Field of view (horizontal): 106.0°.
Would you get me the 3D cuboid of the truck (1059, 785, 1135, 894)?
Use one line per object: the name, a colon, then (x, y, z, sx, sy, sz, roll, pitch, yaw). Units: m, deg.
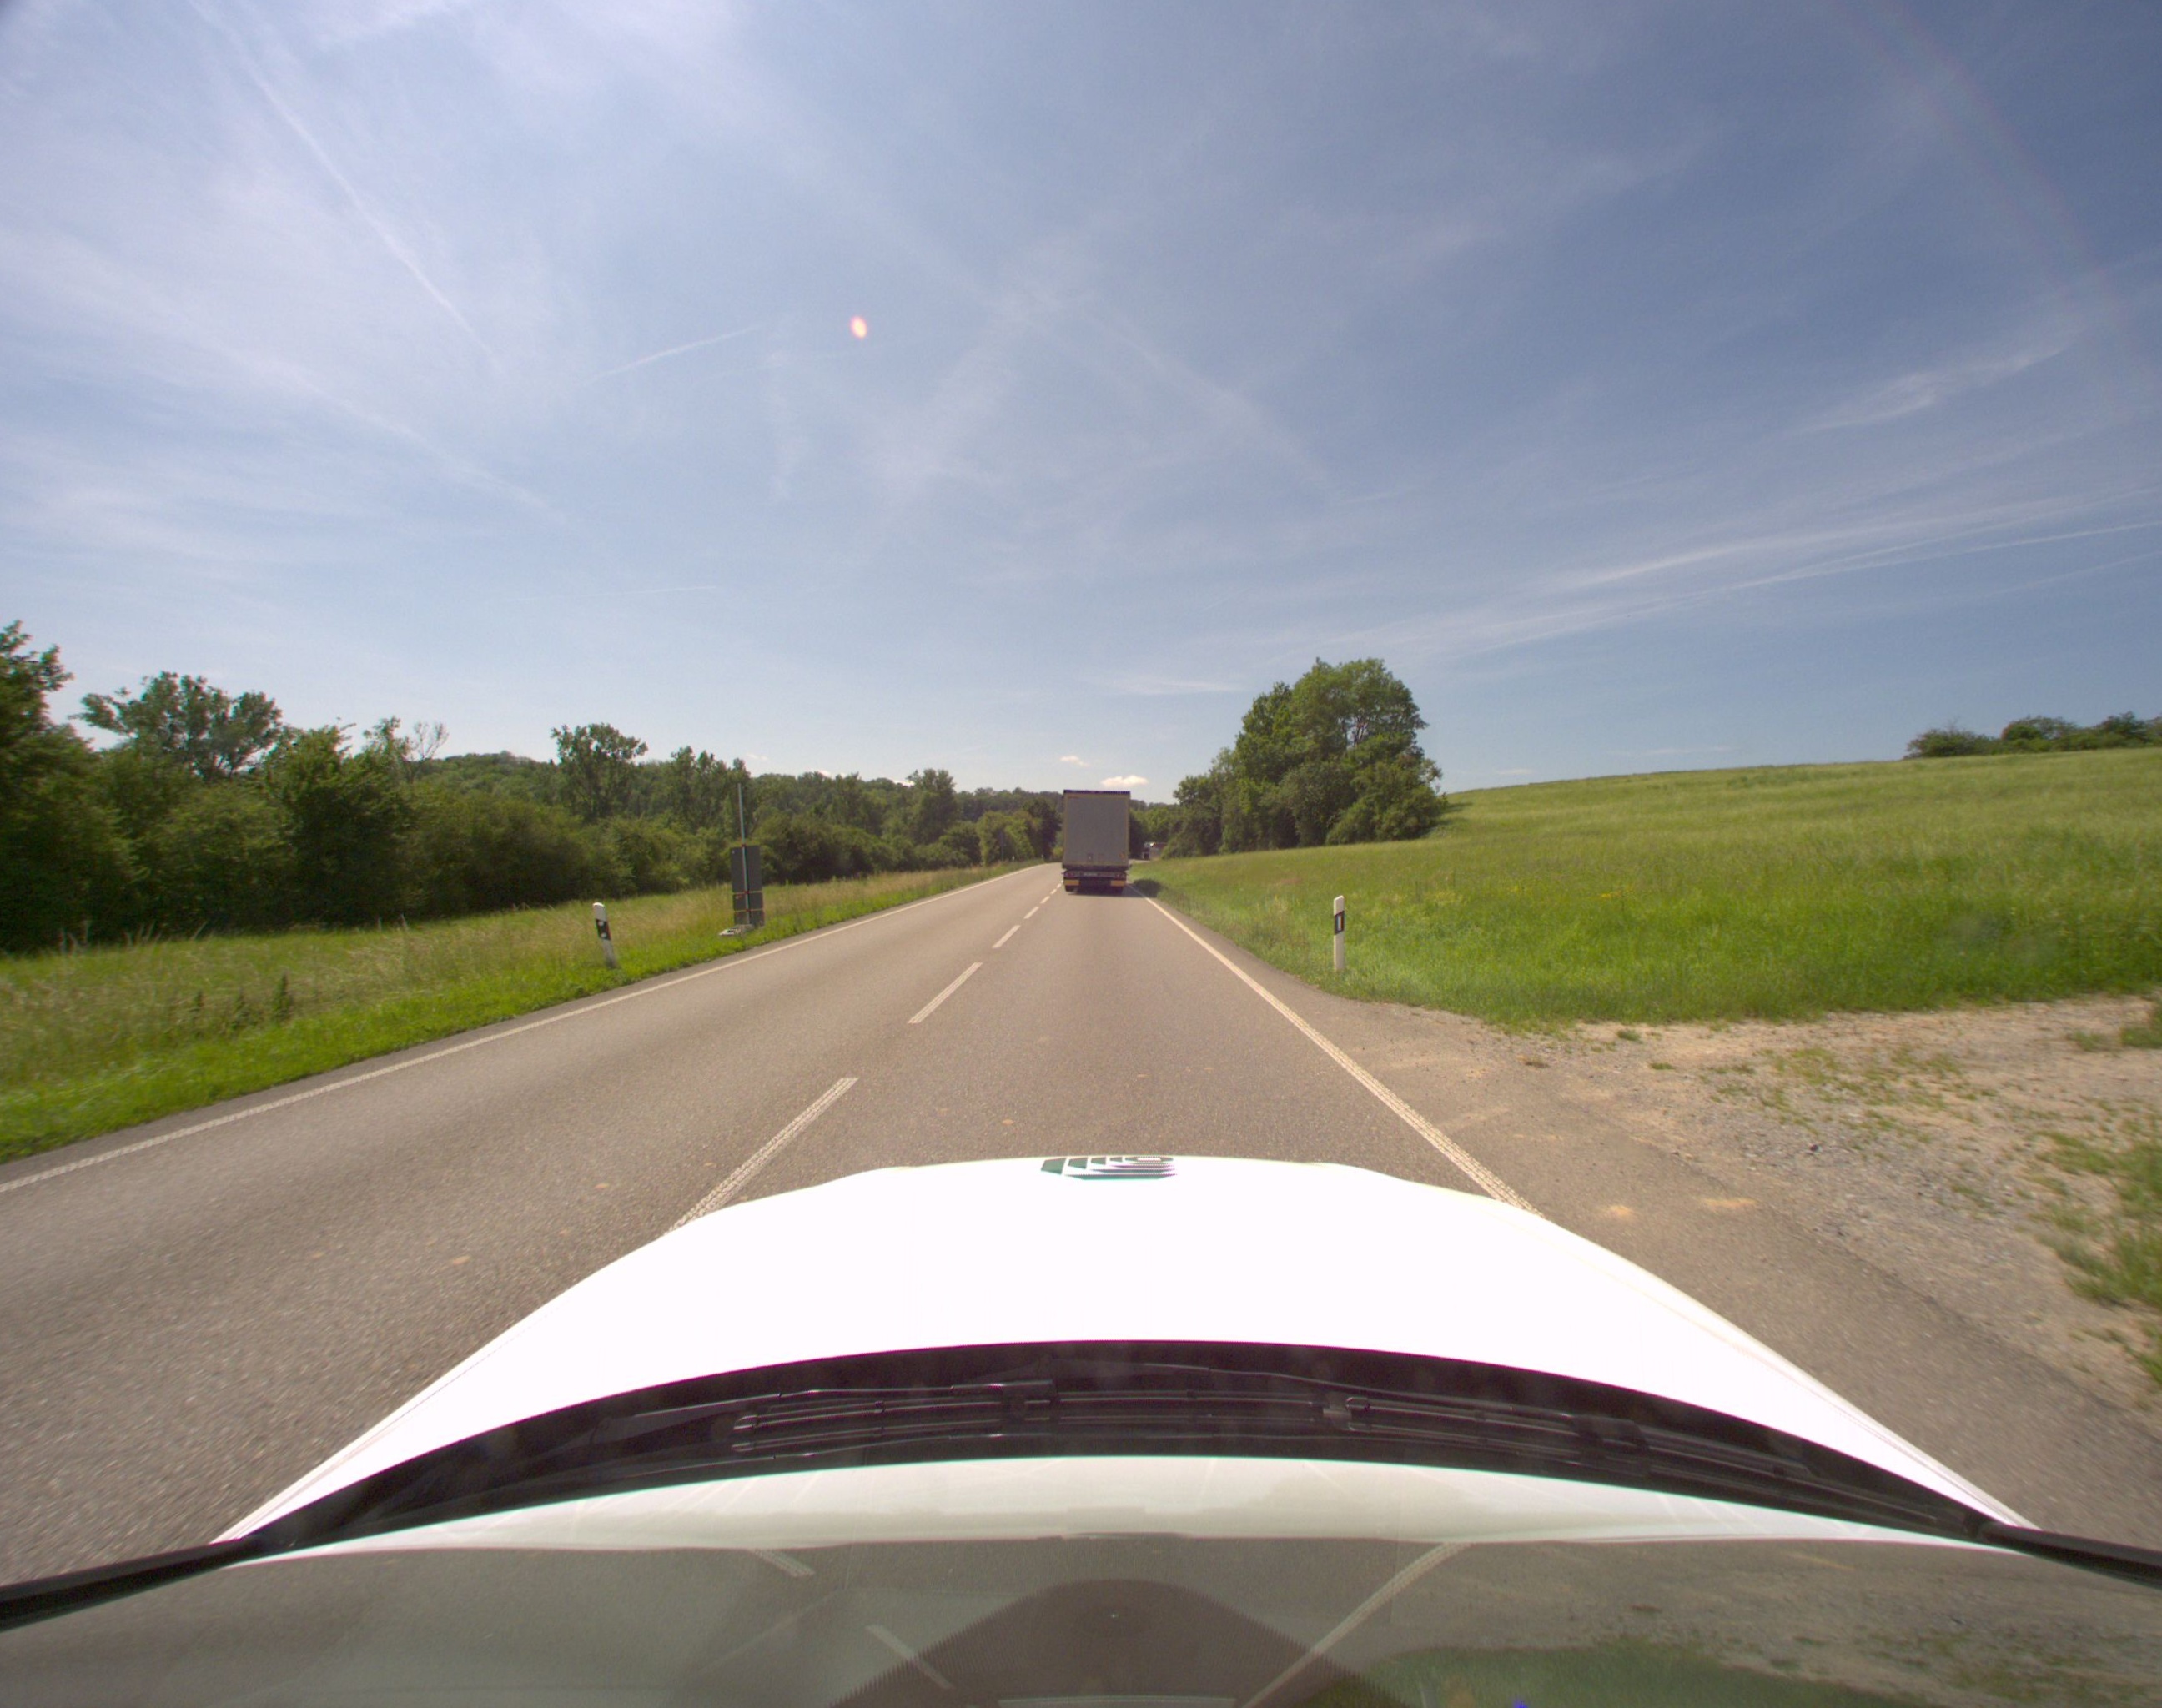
truck: (0.585, -0.521, 38.338, 2.793, 4.068, 15.321, 1, 0, 0)

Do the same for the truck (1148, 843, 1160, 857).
truck: (15.394, -0.759, 172.552, 2.343, 2.825, 5.066, -3, 0, 5)

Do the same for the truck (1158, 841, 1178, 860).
truck: (21.055, -0.722, 195.867, 3.282, 4.386, 13.455, -2, -1, 12)
